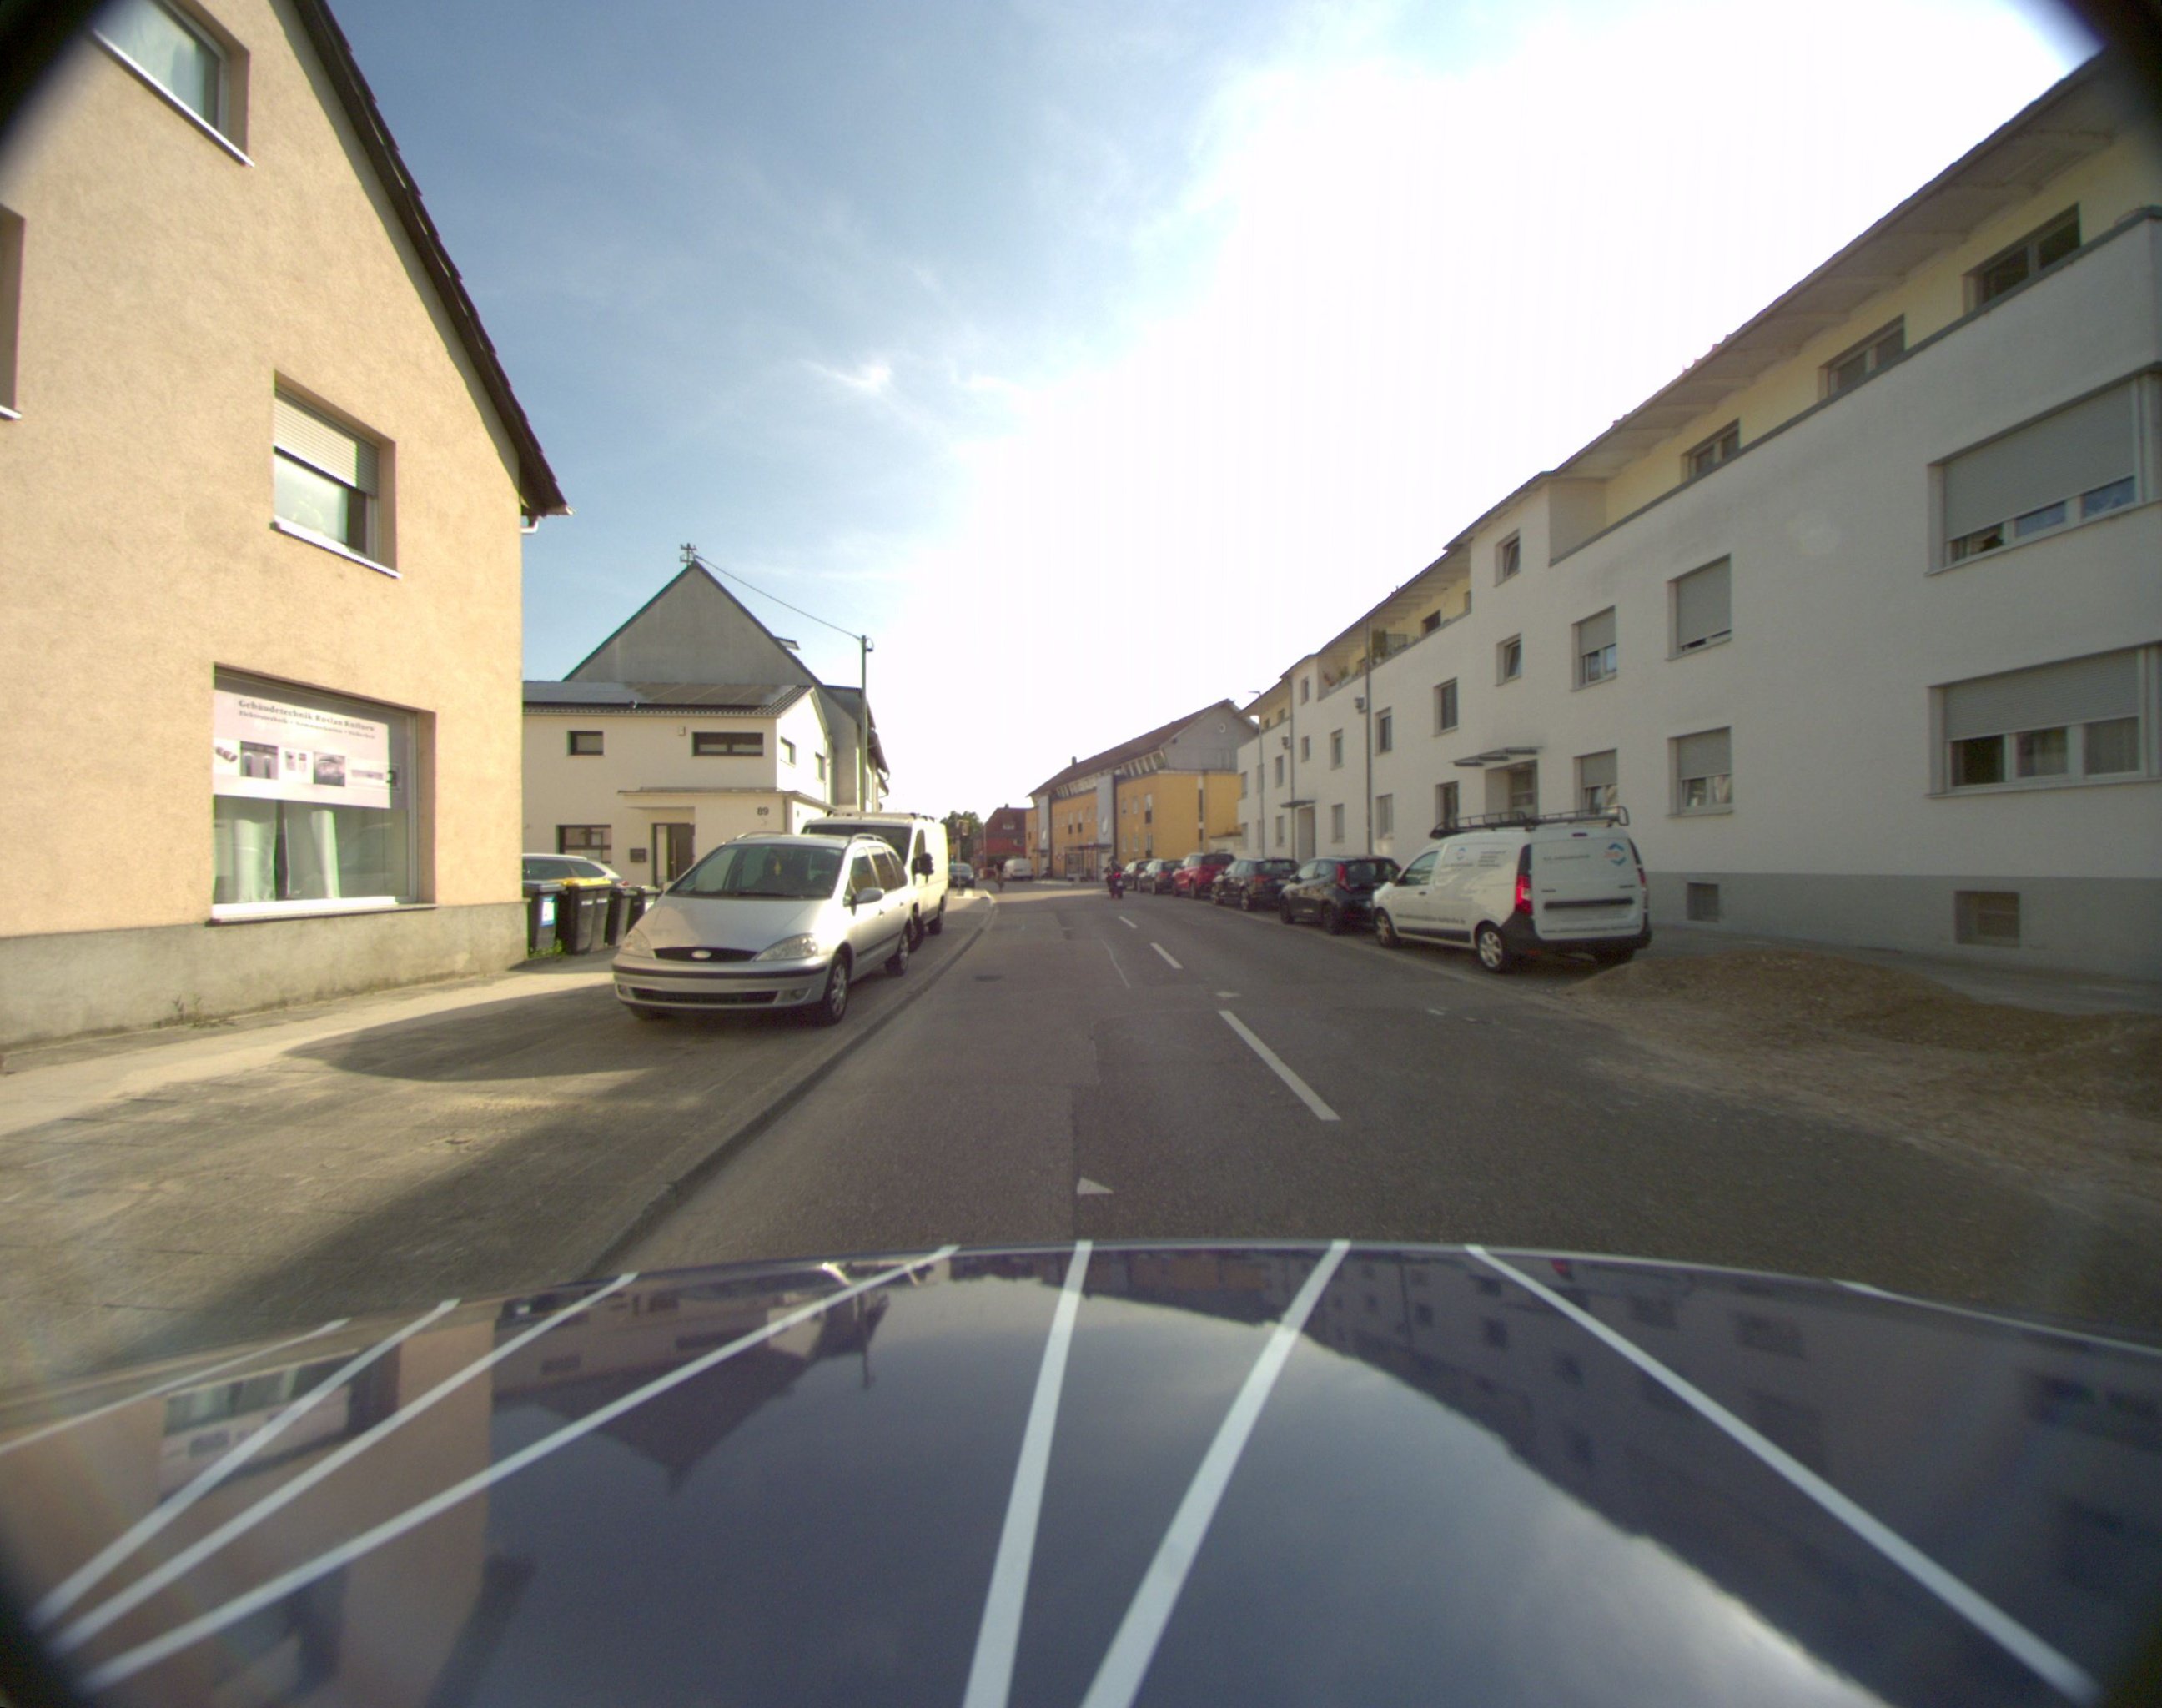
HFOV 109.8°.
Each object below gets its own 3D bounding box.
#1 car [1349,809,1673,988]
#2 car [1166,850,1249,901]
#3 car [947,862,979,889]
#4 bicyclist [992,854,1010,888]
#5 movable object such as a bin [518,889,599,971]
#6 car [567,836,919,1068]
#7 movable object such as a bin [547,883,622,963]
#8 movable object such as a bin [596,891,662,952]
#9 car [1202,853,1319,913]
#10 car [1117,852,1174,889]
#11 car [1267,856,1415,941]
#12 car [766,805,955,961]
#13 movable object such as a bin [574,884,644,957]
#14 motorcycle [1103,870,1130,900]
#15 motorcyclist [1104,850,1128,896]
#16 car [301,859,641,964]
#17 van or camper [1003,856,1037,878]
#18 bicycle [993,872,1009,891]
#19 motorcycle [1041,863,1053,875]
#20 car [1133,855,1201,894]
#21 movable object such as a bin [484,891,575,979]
[{"bbox_3d":[5.627,0.508,10.739,1.732,1.949,4.437,-2,0,-5],"label":"car"},{"bbox_3d":[4.428,0.726,27.250,1.733,1.612,4.260,-2,0,-8],"label":"car"},{"bbox_3d":[-6.757,1.198,43.273,1.613,1.412,3.916,0,0,-11],"label":"car"},{"bbox_3d":[-4.104,0.878,38.988,0.846,1.679,0.877,-1,0,-10],"label":"bicyclist"},{"bbox_3d":[-7.335,1.051,10.696,0.730,1.087,0.553,-1,1,-2],"label":"movable object such as a bin"},{"bbox_3d":[-3.018,0.751,7.961,1.782,1.731,4.482,1,0,-2],"label":"car"},{"bbox_3d":[-7.392,1.016,11.345,0.730,1.125,0.553,-1,1,-2],"label":"movable object such as a bin"},{"bbox_3d":[-7.445,1.103,12.536,0.730,0.953,0.553,-1,0,-2],"label":"movable object such as a bin"},{"bbox_3d":[4.919,0.749,21.500,1.733,1.469,4.260,-1,0,-9],"label":"car"},{"bbox_3d":[3.129,0.793,37.735,1.781,1.612,4.175,-3,0,-9],"label":"car"},{"bbox_3d":[5.081,0.803,15.316,1.497,1.456,3.512,-2,0,-5],"label":"car"},{"bbox_3d":[-3.710,0.459,13.881,2.180,2.313,4.996,1,0,-3],"label":"car"},{"bbox_3d":[-7.415,1.036,11.961,0.730,1.087,0.553,-1,1,-2],"label":"movable object such as a bin"},{"bbox_3d":[1.262,1.093,27.615,0.770,0.979,2.198,-1,0,-3],"label":"motorcycle"},{"bbox_3d":[1.253,0.673,27.620,0.771,1.642,0.843,-1,1,-2],"label":"motorcyclist"},{"bbox_3d":[-9.571,0.794,12.348,1.657,1.399,3.986,0,0,23],"label":"car"},{"bbox_3d":[-5.663,1.182,70.428,2.002,1.991,4.913,-1,0,-18],"label":"van or camper"},{"bbox_3d":[-4.112,1.395,38.950,0.681,0.849,2.025,-1,0,-10],"label":"bicycle"},{"bbox_3d":[-3.469,1.557,76.926,0.584,1.176,1.875,-2,0,-21],"label":"motorcycle"},{"bbox_3d":[3.556,0.839,32.349,1.733,1.469,4.499,-2,0,-9],"label":"car"},{"bbox_3d":[-7.301,1.051,10.085,0.730,1.087,0.625,-1,0,-2],"label":"movable object such as a bin"}]
